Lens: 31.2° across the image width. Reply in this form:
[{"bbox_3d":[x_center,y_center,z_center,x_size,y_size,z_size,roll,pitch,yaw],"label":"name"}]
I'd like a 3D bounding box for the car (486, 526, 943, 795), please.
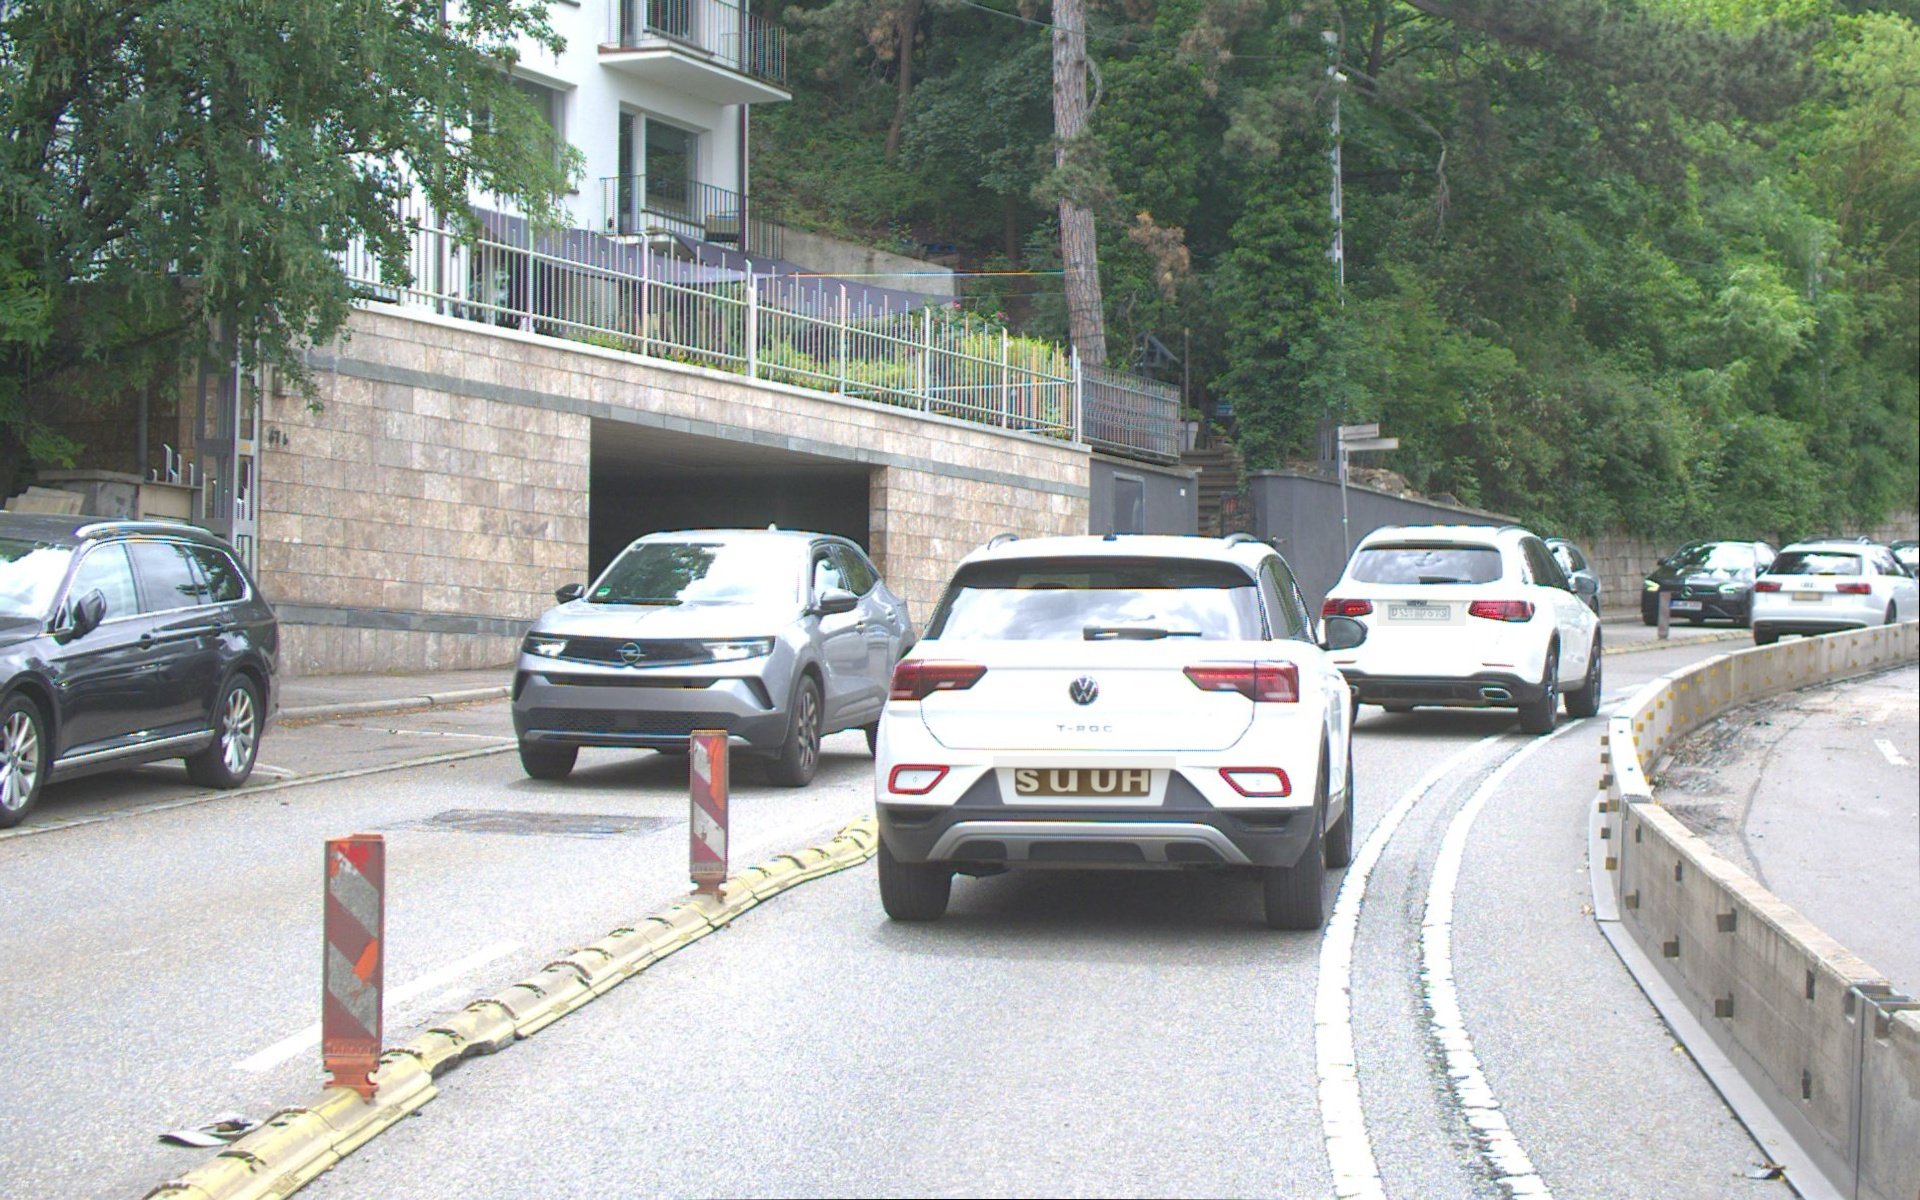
[{"bbox_3d":[-1.453,0.312,21.986,1.768,1.512,4.023,2,1,13],"label":"car"}]

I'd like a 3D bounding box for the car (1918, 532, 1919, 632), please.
[{"bbox_3d":[17.590,-0.332,58.281,1.812,1.657,3.994,0,1,28],"label":"car"}]

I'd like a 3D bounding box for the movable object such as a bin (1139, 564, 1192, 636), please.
[{"bbox_3d":[2.784,-0.005,46.600,0.549,0.973,0.509,0,1,28],"label":"movable object such as a bin"}]

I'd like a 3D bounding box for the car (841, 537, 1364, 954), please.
[{"bbox_3d":[0.757,0.512,14.883,1.810,1.526,3.999,1,1,9],"label":"car"}]

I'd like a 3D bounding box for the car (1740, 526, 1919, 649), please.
[{"bbox_3d":[12.382,-0.206,48.285,1.812,1.657,3.994,0,1,28],"label":"car"}]

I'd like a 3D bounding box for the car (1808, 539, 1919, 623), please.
[{"bbox_3d":[17.225,-0.381,63.993,1.770,1.447,4.302,3,2,28],"label":"car"}]

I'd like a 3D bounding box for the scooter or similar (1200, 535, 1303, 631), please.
[{"bbox_3d":[3.860,-0.233,45.601,1.308,1.251,0.467,1,1,0],"label":"scooter or similar"}]

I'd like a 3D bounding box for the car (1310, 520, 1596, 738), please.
[{"bbox_3d":[4.130,0.185,28.286,1.811,1.657,3.997,0,1,16],"label":"car"}]

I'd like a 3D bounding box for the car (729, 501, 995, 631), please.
[{"bbox_3d":[-1.166,-0.399,42.683,1.784,1.448,3.697,2,-1,25],"label":"car"}]

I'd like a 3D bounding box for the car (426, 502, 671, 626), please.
[{"bbox_3d":[-5.144,-0.426,43.434,1.772,1.414,3.542,2,-1,16],"label":"car"}]

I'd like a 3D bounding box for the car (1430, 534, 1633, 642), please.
[{"bbox_3d":[8.073,-0.202,48.258,1.770,1.430,4.303,1,1,24],"label":"car"}]

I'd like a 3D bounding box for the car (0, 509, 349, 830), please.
[{"bbox_3d":[-4.942,0.271,18.388,1.736,1.446,4.681,4,1,10],"label":"car"}]

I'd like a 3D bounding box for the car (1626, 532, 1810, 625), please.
[{"bbox_3d":[12.681,-0.374,57.313,1.770,1.430,4.302,3,2,29],"label":"car"}]
